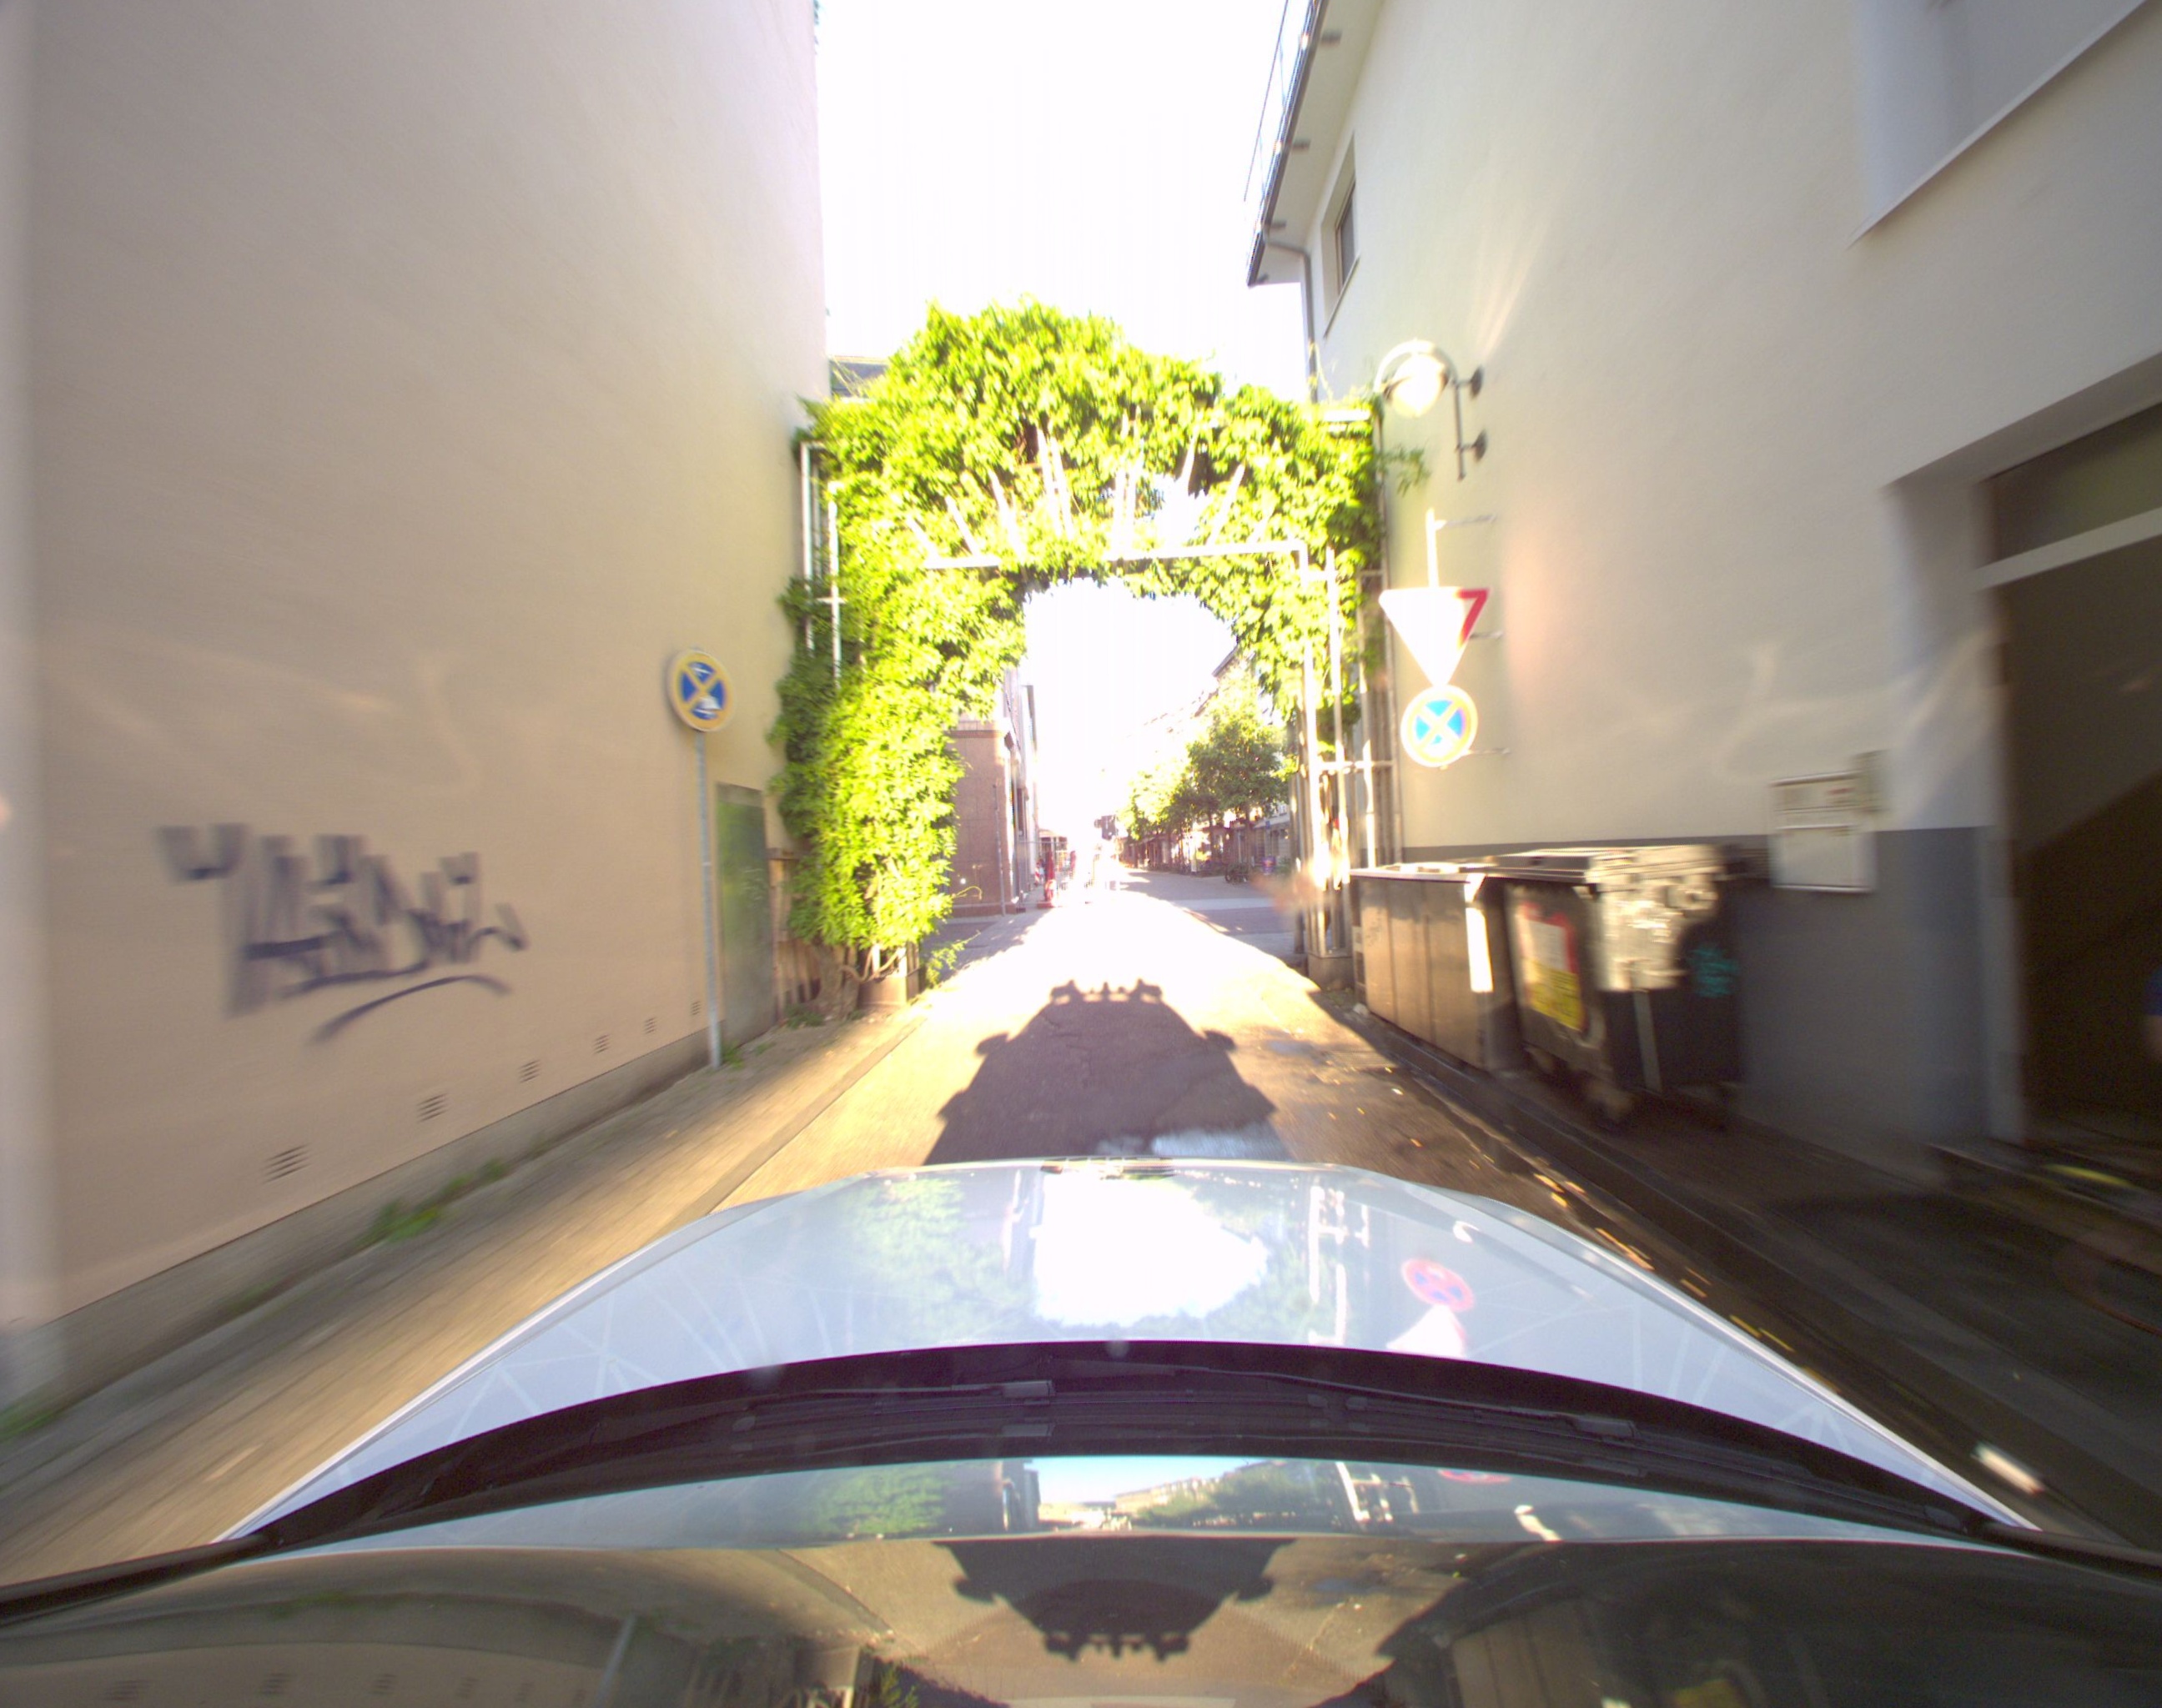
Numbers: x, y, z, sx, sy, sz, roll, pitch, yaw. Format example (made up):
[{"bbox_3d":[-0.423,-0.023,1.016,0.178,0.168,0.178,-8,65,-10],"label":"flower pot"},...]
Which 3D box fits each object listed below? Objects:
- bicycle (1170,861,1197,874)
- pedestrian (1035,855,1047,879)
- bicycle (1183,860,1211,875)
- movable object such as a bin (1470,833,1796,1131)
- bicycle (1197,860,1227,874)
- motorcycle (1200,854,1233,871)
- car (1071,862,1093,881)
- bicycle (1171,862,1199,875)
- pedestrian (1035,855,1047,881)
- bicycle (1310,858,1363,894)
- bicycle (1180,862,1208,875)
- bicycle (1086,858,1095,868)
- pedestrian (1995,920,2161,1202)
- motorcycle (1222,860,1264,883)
[{"bbox_3d":[8.600,1.139,68.377,2.151,0.926,0.589,-3,-2,-8],"label":"bicycle"},{"bbox_3d":[-2.718,0.885,55.671,0.651,1.651,0.635,-3,-1,4],"label":"pedestrian"},{"bbox_3d":[9.120,1.064,64.003,2.137,1.061,0.593,-3,-2,14],"label":"bicycle"},{"bbox_3d":[2.817,0.585,4.355,0.832,1.305,1.292,-5,0,4],"label":"movable object such as a bin"},{"bbox_3d":[10.007,0.977,62.100,2.157,0.926,0.587,-3,-2,-16],"label":"bicycle"},{"bbox_3d":[10.160,0.632,60.979,2.481,1.095,0.586,-3,-2,-23],"label":"motorcycle"},{"bbox_3d":[0.083,1.731,80.356,1.839,1.684,3.638,-3,-1,-5],"label":"car"},{"bbox_3d":[8.611,1.215,67.414,2.151,0.926,0.589,-3,-2,-8],"label":"bicycle"},{"bbox_3d":[-2.699,0.944,55.012,0.651,1.764,0.635,-3,-1,4],"label":"pedestrian"},{"bbox_3d":[8.849,0.757,28.230,1.642,1.050,0.666,-6,0,18],"label":"bicycle"},{"bbox_3d":[9.202,1.200,66.272,2.151,0.926,0.589,-3,-2,-8],"label":"bicycle"},{"bbox_3d":[1.182,1.124,100.580,0.589,1.095,2.150,-3,-1,-12],"label":"bicycle"},{"bbox_3d":[3.615,0.656,2.594,0.606,0.810,0.721,-1,1,1],"label":"pedestrian"},{"bbox_3d":[8.854,0.954,44.432,2.148,1.151,0.493,-3,-2,-3],"label":"motorcycle"}]
